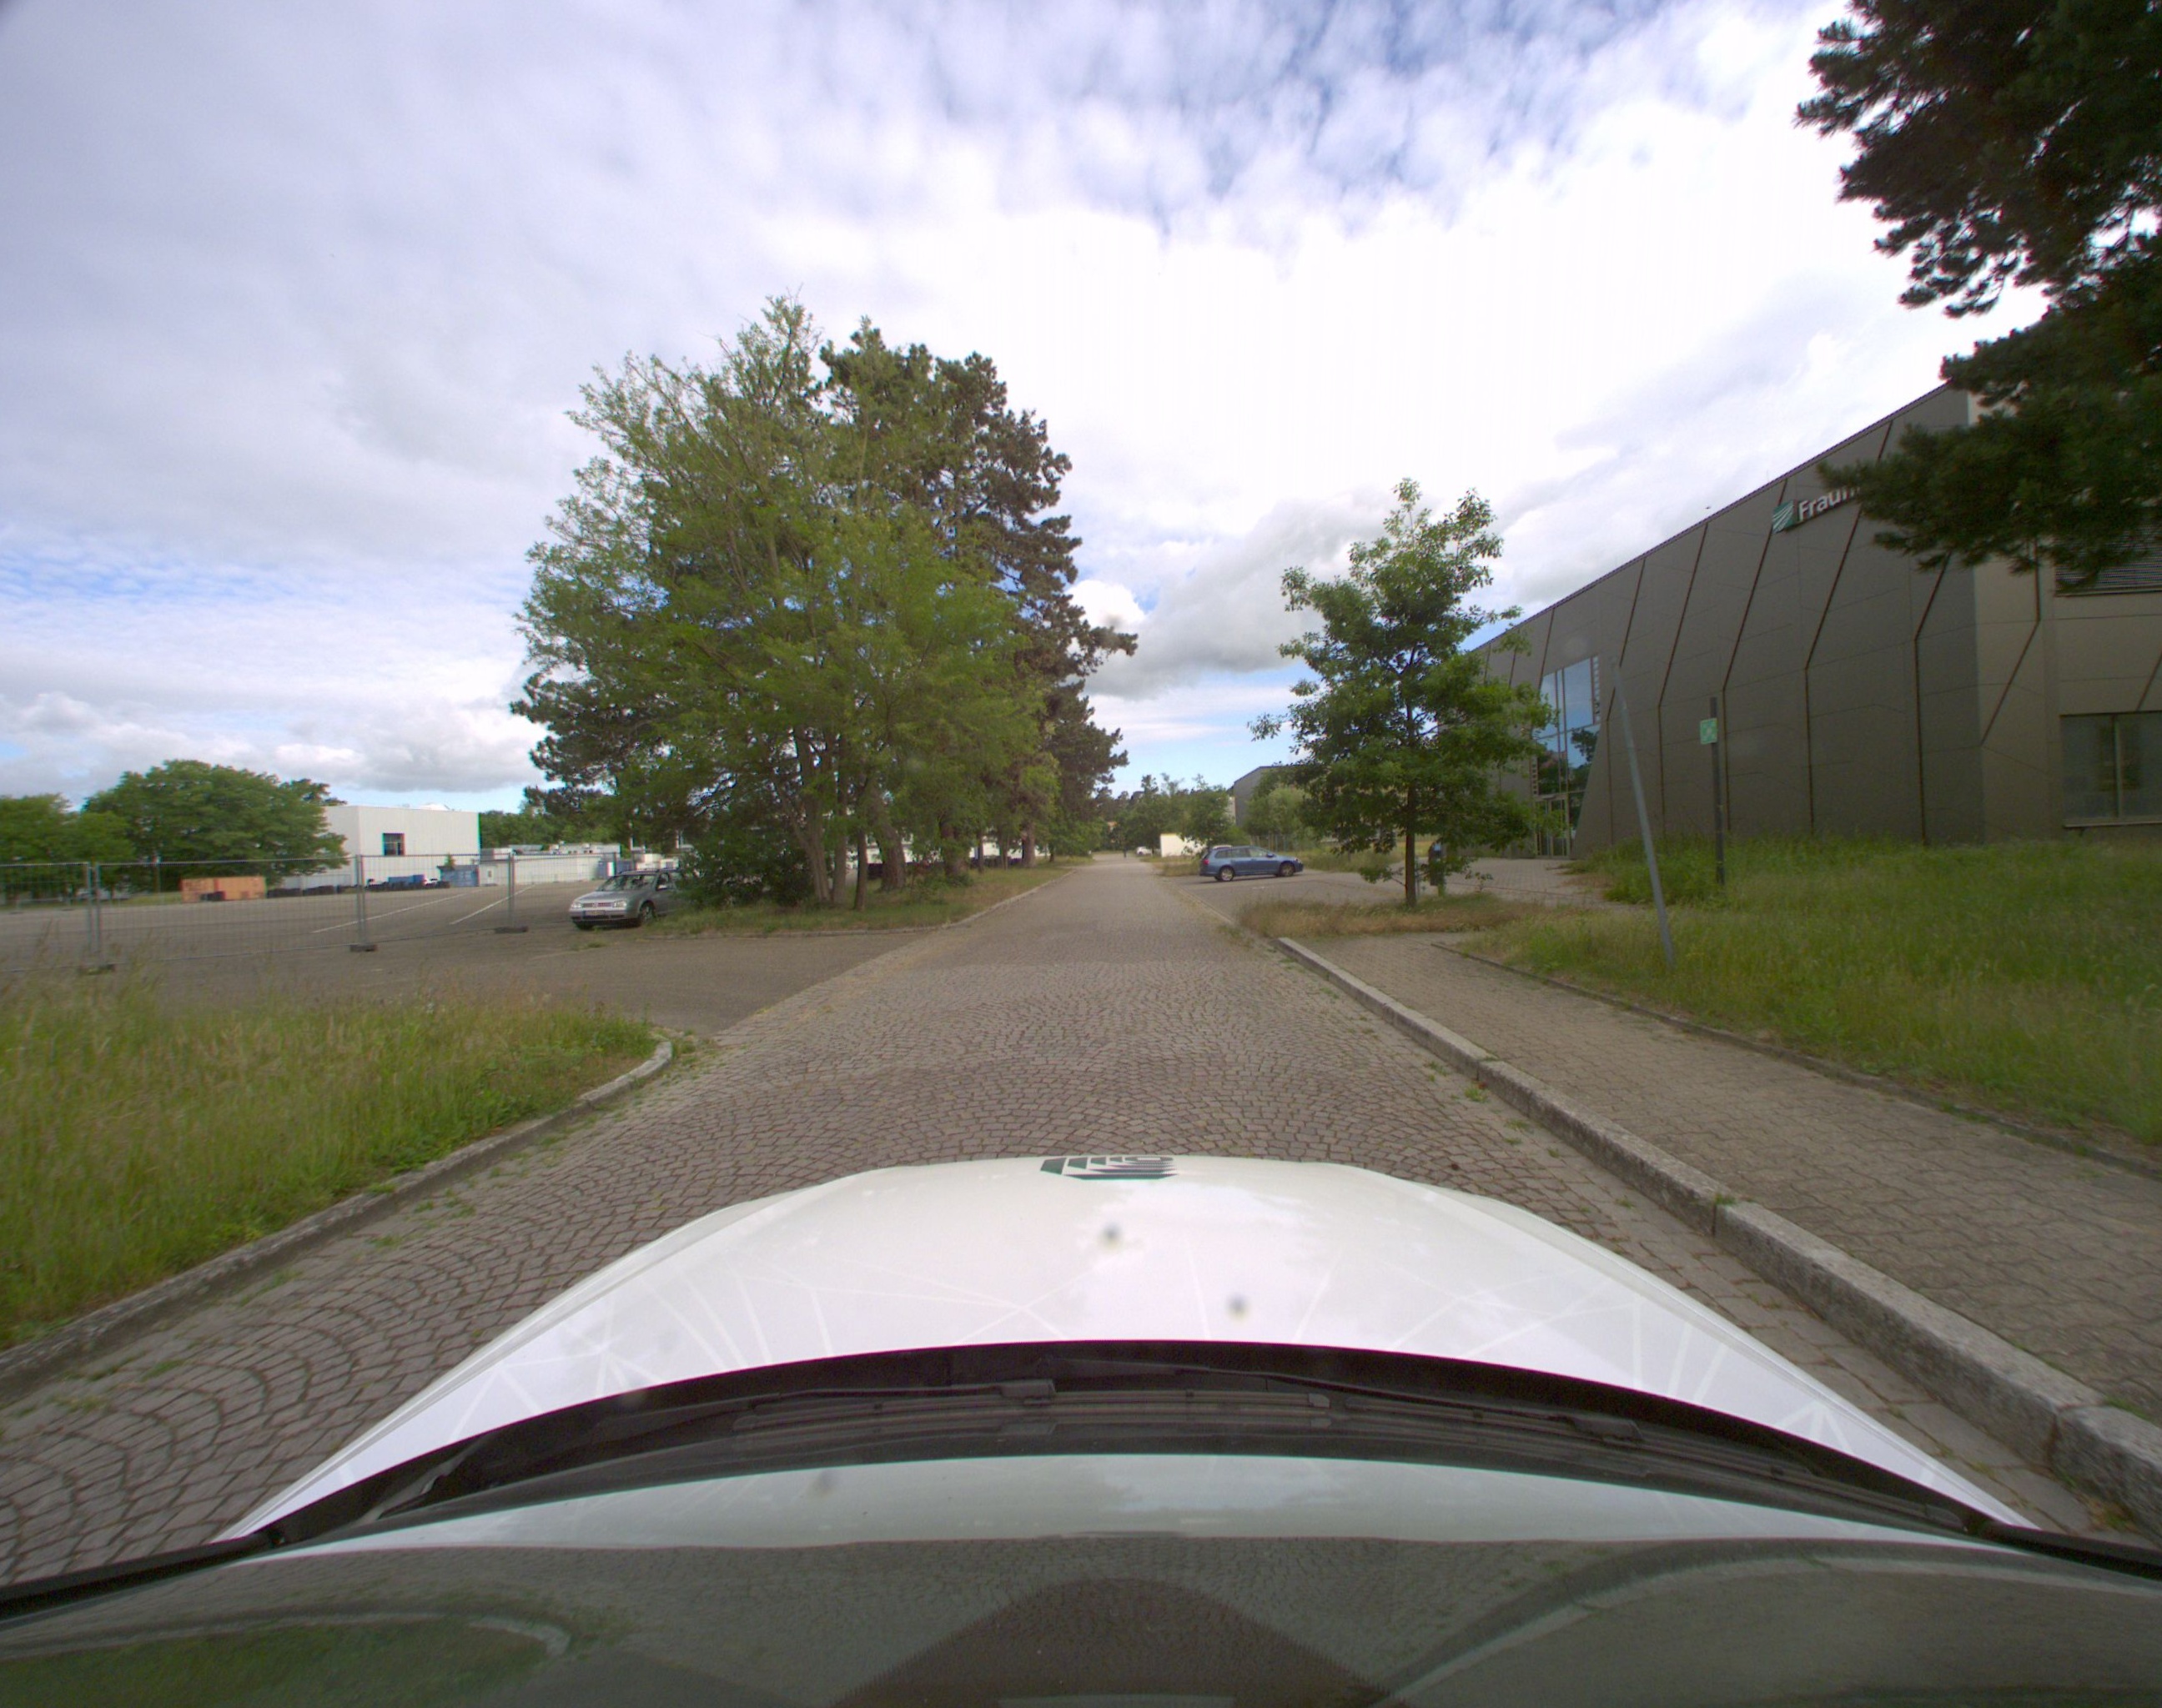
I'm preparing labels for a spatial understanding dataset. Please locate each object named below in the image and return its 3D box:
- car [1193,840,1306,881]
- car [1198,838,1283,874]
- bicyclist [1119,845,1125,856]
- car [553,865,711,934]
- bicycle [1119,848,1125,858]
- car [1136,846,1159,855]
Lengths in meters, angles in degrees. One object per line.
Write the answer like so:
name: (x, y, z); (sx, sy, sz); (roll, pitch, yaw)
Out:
car: (7.345, 0.275, 35.808); (4.466, 1.462, 1.934); (-4, 0, 0)
car: (8.441, 0.106, 43.232); (4.094, 1.572, 1.765); (-4, 0, 0)
bicyclist: (6.102, -0.565, 120.914); (0.894, 1.542, 0.868); (-2, 1, 1)
car: (-11.772, 1.131, 21.706); (1.723, 1.432, 4.164); (-2, 1, 2)
bicycle: (6.123, -0.116, 120.886); (0.820, 1.376, 2.043); (-2, 1, 2)
car: (12.711, -0.672, 155.591); (4.303, 1.549, 2.002); (-2, 0, 3)
